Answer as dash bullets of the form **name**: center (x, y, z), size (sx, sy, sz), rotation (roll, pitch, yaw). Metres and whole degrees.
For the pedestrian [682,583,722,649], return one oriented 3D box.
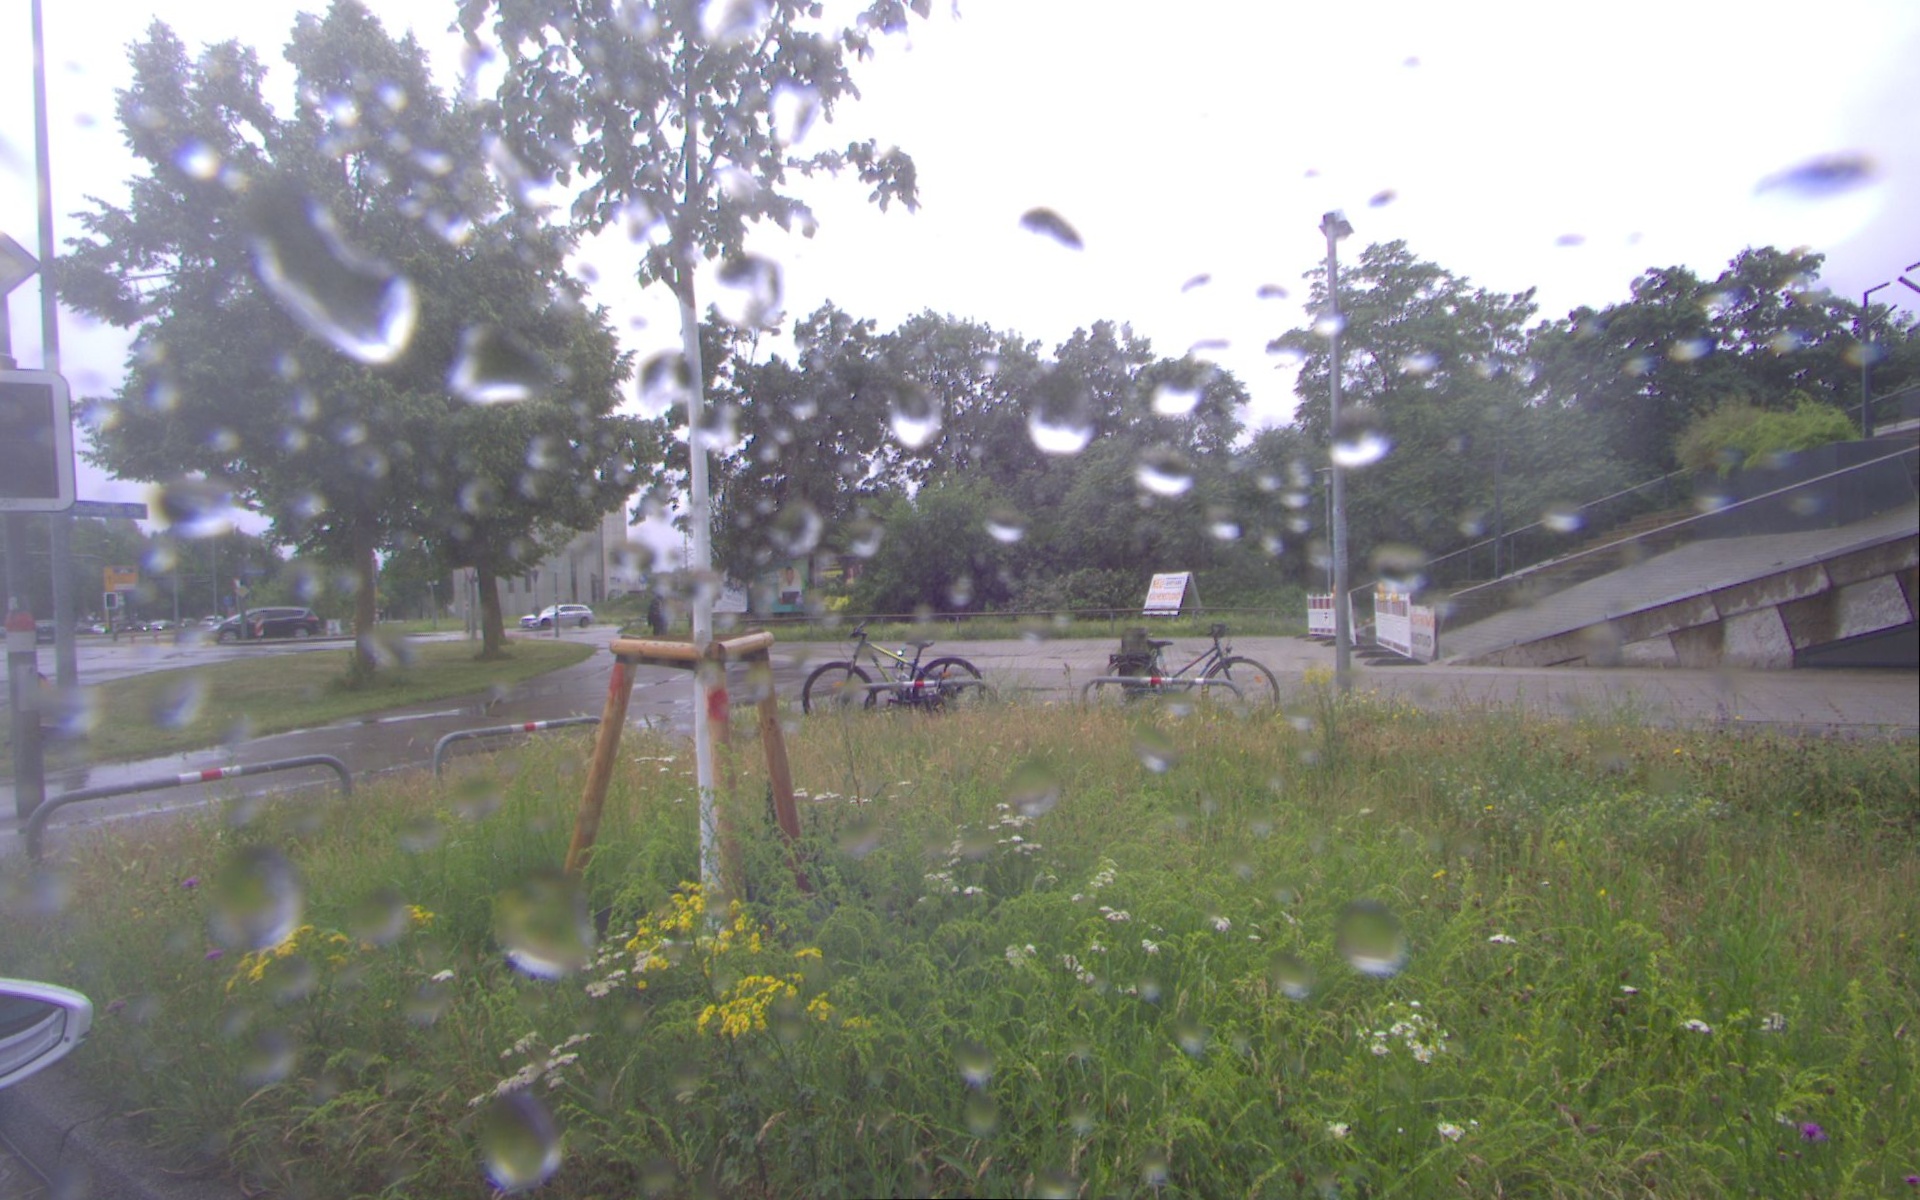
- **pedestrian**: center (-7.074, 0.447, 27.472), size (0.906, 1.807, 0.808), rotation (0, -1, -3)

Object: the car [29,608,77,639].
- **car**: center (-47.614, 1.217, 52.552), size (3.218, 1.512, 1.678), rotation (0, 1, 45)

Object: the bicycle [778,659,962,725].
- **bicycle**: center (-0.871, 0.889, 9.823), size (1.771, 0.566, 0.320), rotation (-1, 1, -17)

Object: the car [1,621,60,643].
- **car**: center (-78.777, 2.713, 84.920), size (1.964, 1.772, 3.996), rotation (0, -2, -14)

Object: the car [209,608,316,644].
- **car**: center (-33.242, 1.257, 47.778), size (3.962, 1.668, 1.772), rotation (2, -2, -44)

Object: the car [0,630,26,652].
- **car**: center (-76.443, 3.243, 78.792), size (1.744, 1.766, 4.867), rotation (0, -2, -7)

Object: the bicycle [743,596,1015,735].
- **bicycle**: center (-0.750, 0.581, 9.428), size (2.480, 1.205, 0.552), rotation (-1, 1, -17)

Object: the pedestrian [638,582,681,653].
- **pedestrian**: center (-7.797, 0.453, 25.991), size (0.906, 1.807, 0.808), rotation (0, -1, -3)

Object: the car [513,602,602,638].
- **car**: center (-24.305, 1.167, 60.670), size (1.763, 1.836, 4.809), rotation (0, 3, 32)

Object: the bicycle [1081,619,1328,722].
- **bicycle**: center (2.231, 0.610, 9.241), size (2.130, 0.858, 0.634), rotation (-1, 0, 28)

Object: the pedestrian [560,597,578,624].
- **pedestrian**: center (-26.569, 0.736, 68.018), size (0.705, 1.794, 0.948), rotation (-1, -2, 42)
